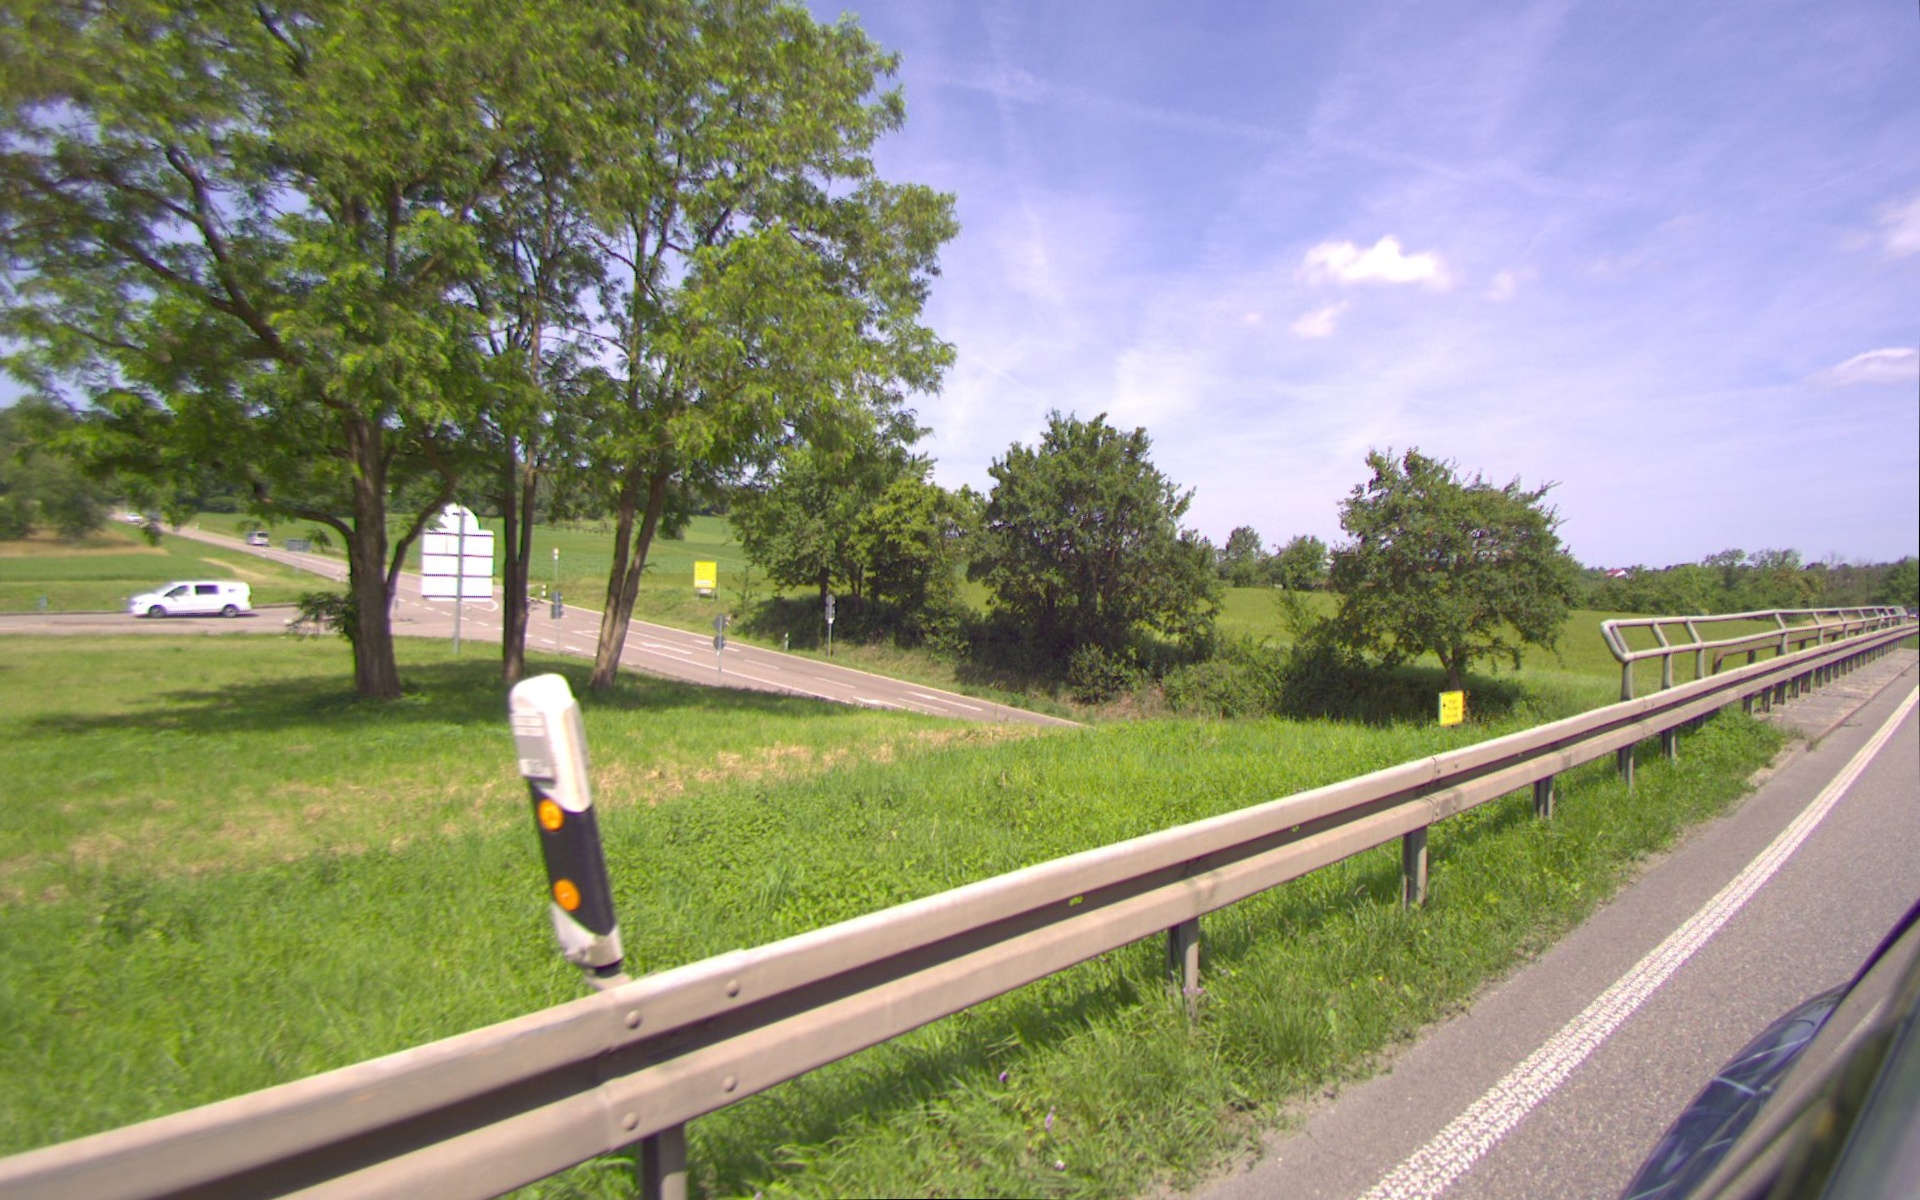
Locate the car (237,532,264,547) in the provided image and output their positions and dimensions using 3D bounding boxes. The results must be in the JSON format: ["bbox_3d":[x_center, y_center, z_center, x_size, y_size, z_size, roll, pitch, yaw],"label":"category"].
[{"bbox_3d":[-88.181,-7.549,125.782,3.987,1.568,1.784,7,4,41],"label":"car"}]

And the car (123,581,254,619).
[{"bbox_3d":[-41.359,-0.004,54.369,1.992,1.869,5.340,4,3,41],"label":"car"}]
